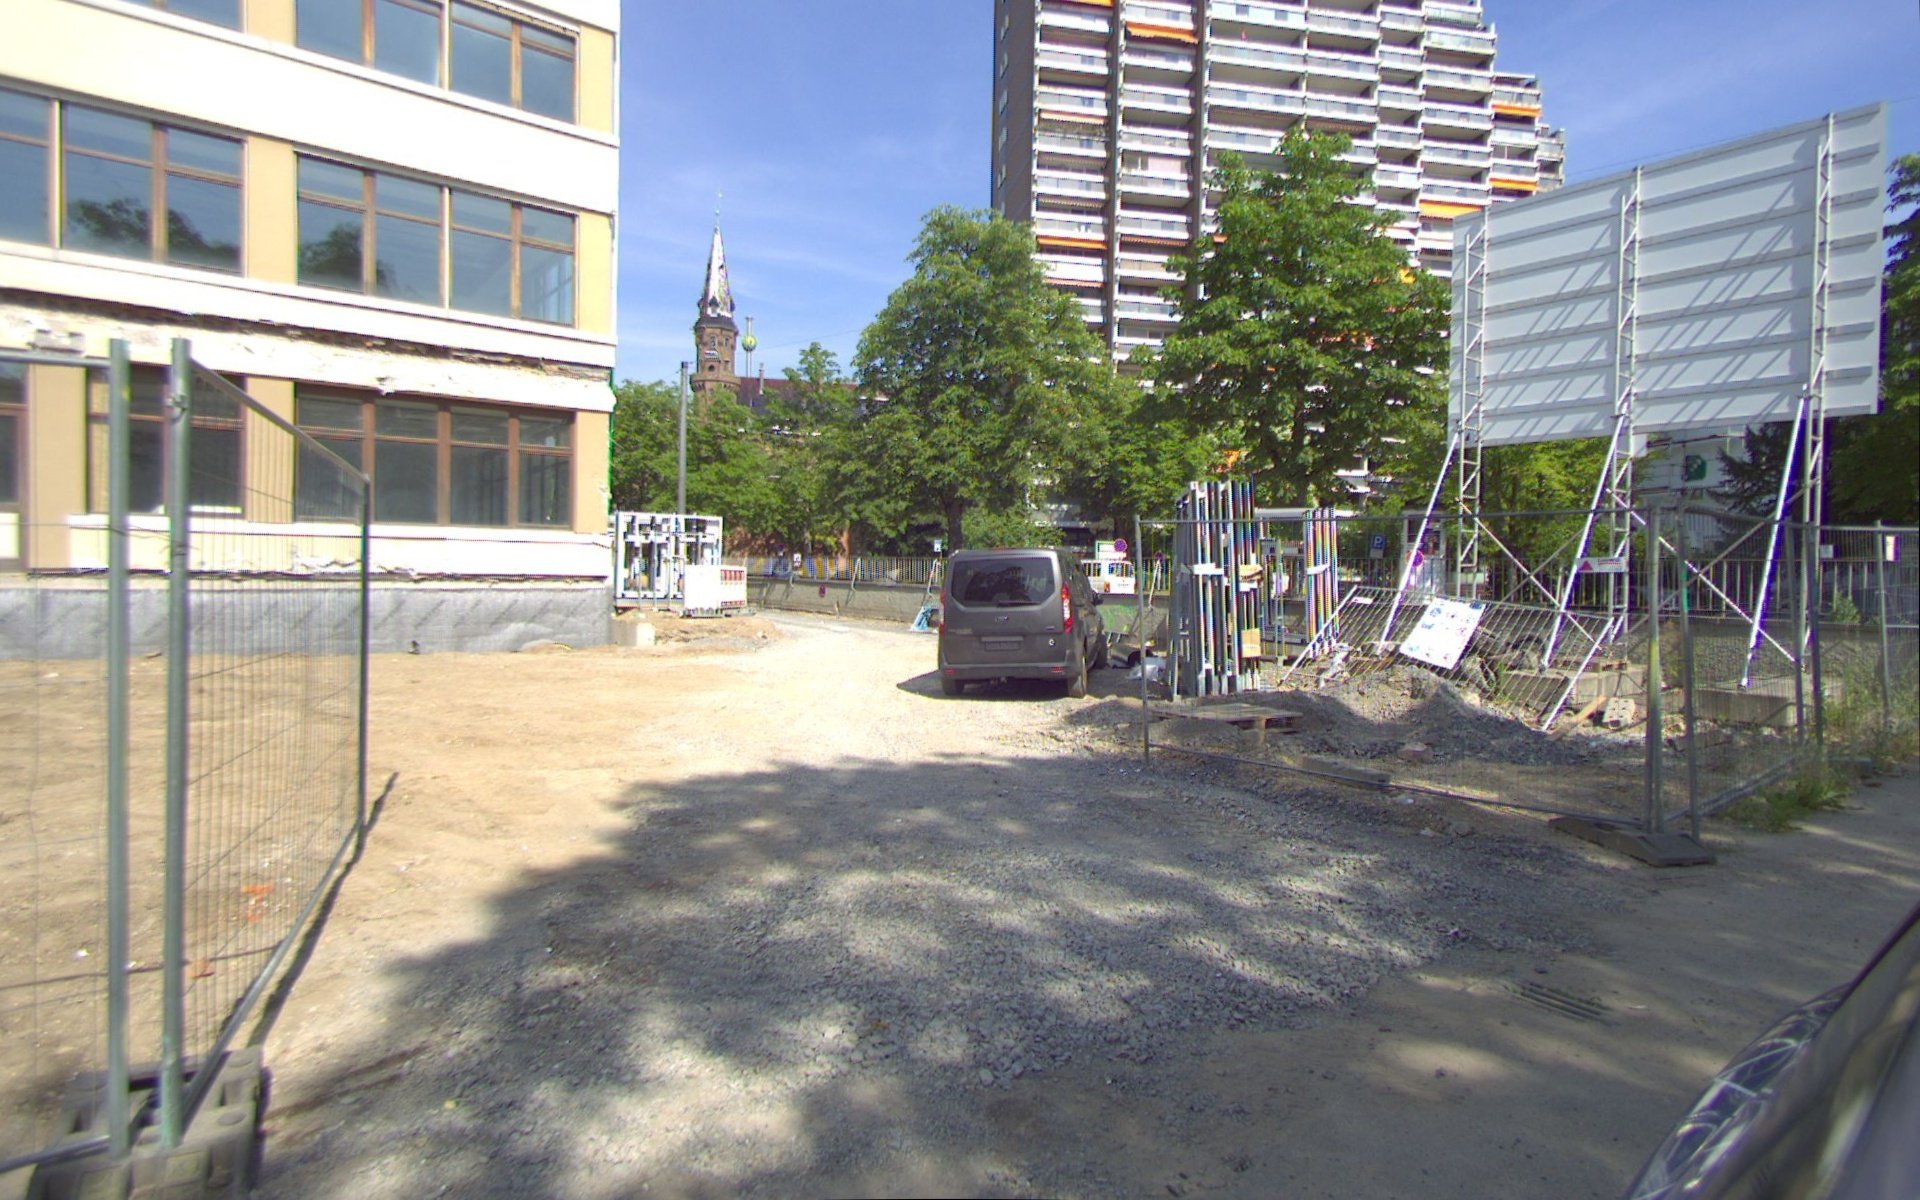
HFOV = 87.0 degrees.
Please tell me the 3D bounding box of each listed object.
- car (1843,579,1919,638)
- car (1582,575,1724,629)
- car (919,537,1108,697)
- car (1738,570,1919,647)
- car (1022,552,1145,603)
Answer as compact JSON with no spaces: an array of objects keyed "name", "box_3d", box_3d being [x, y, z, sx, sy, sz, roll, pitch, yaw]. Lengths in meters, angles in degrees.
[{"name":"car","box_3d":[24.957,0.213,25.774,1.625,1.470,3.995,1,1,5]},{"name":"car","box_3d":[21.008,0.022,30.902,1.811,1.427,4.142,0,3,7]},{"name":"car","box_3d":[0.902,0.130,13.741,1.892,1.802,4.297,0,2,12]},{"name":"car","box_3d":[19.800,0.167,21.851,1.907,1.540,4.389,1,1,-37]},{"name":"car","box_3d":[4.997,-0.950,41.797,1.959,1.970,5.248,0,2,-37]}]
